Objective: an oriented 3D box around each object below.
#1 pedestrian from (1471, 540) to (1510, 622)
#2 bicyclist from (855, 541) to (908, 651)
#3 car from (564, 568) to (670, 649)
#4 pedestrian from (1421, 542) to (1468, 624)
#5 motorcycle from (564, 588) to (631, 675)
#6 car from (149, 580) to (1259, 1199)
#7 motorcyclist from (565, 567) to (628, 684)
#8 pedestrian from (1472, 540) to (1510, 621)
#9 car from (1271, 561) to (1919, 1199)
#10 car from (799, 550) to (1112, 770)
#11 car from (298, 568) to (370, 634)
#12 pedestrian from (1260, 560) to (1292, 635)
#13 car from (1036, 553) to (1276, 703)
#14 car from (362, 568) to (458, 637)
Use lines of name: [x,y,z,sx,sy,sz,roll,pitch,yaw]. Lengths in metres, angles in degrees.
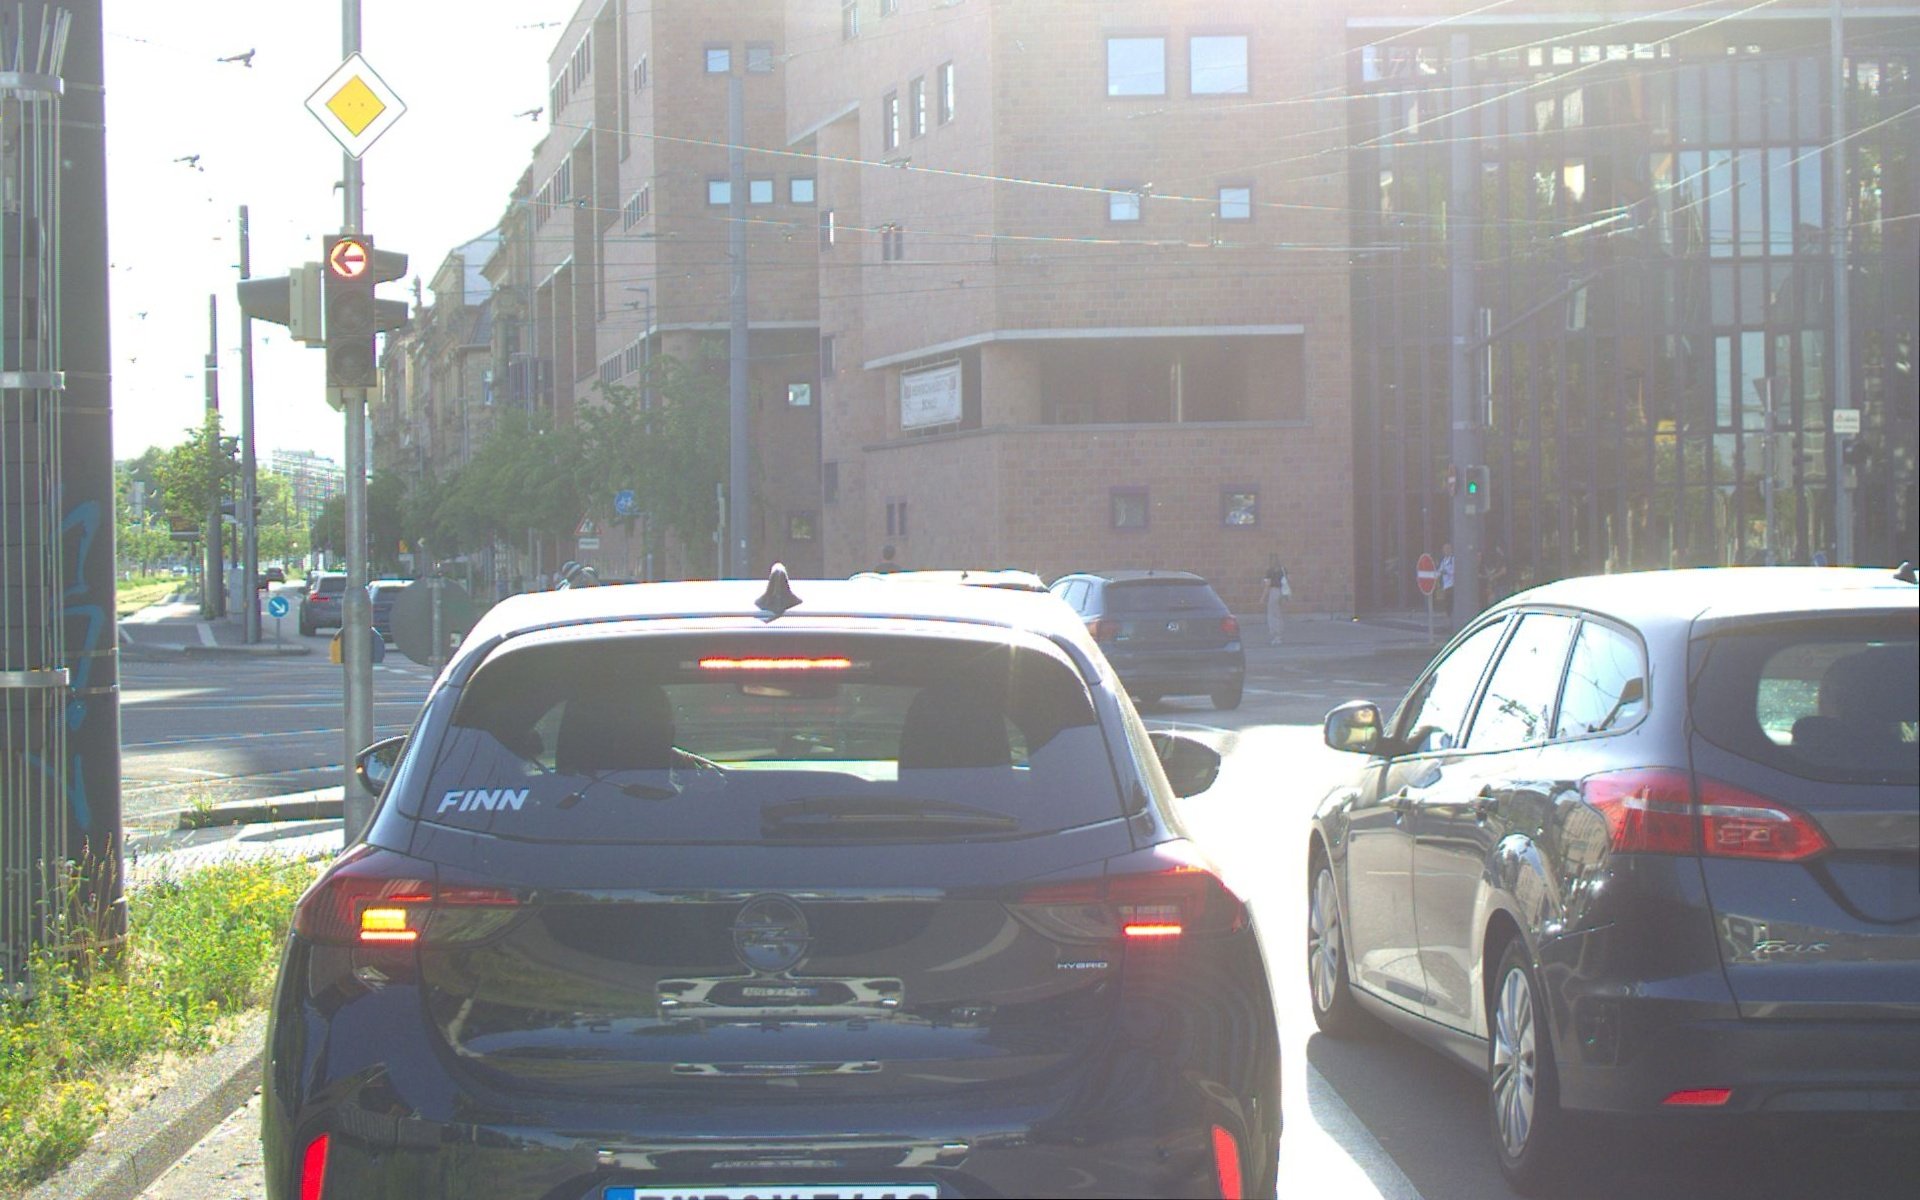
pedestrian: [10.635,-0.384,68.920,0.738,1.611,0.560,-1,1,8]
bicyclist: [-1.285,-0.069,56.381,0.577,1.785,0.864,-1,1,-22]
car: [-6.563,0.143,65.448,1.807,1.452,4.001,0,1,-9]
pedestrian: [9.596,-0.340,68.064,0.900,1.611,0.560,-1,1,8]
motorcycle: [-4.863,0.412,46.072,0.775,1.111,1.970,-1,1,-9]
car: [-0.357,0.696,7.134,1.649,1.428,4.000,-1,1,1]
motorcyclist: [-4.884,0.333,46.137,0.744,1.525,1.021,-1,1,-10]
pedestrian: [10.775,-0.398,69.814,0.738,1.611,0.560,-1,1,8]
car: [1.998,0.658,9.067,1.685,1.428,4.154,-1,1,-4]
car: [-0.128,0.391,25.926,1.811,1.487,4.497,1,1,-7]
car: [-16.281,-0.006,89.303,1.737,1.645,4.001,-1,1,-12]
pedestrian: [6.077,-0.056,66.098,0.529,1.425,0.598,-1,1,-1]
car: [1.977,0.255,35.838,1.807,1.452,4.001,0,1,-7]
car: [-11.285,0.027,70.395,1.737,1.345,4.001,-1,1,-12]
